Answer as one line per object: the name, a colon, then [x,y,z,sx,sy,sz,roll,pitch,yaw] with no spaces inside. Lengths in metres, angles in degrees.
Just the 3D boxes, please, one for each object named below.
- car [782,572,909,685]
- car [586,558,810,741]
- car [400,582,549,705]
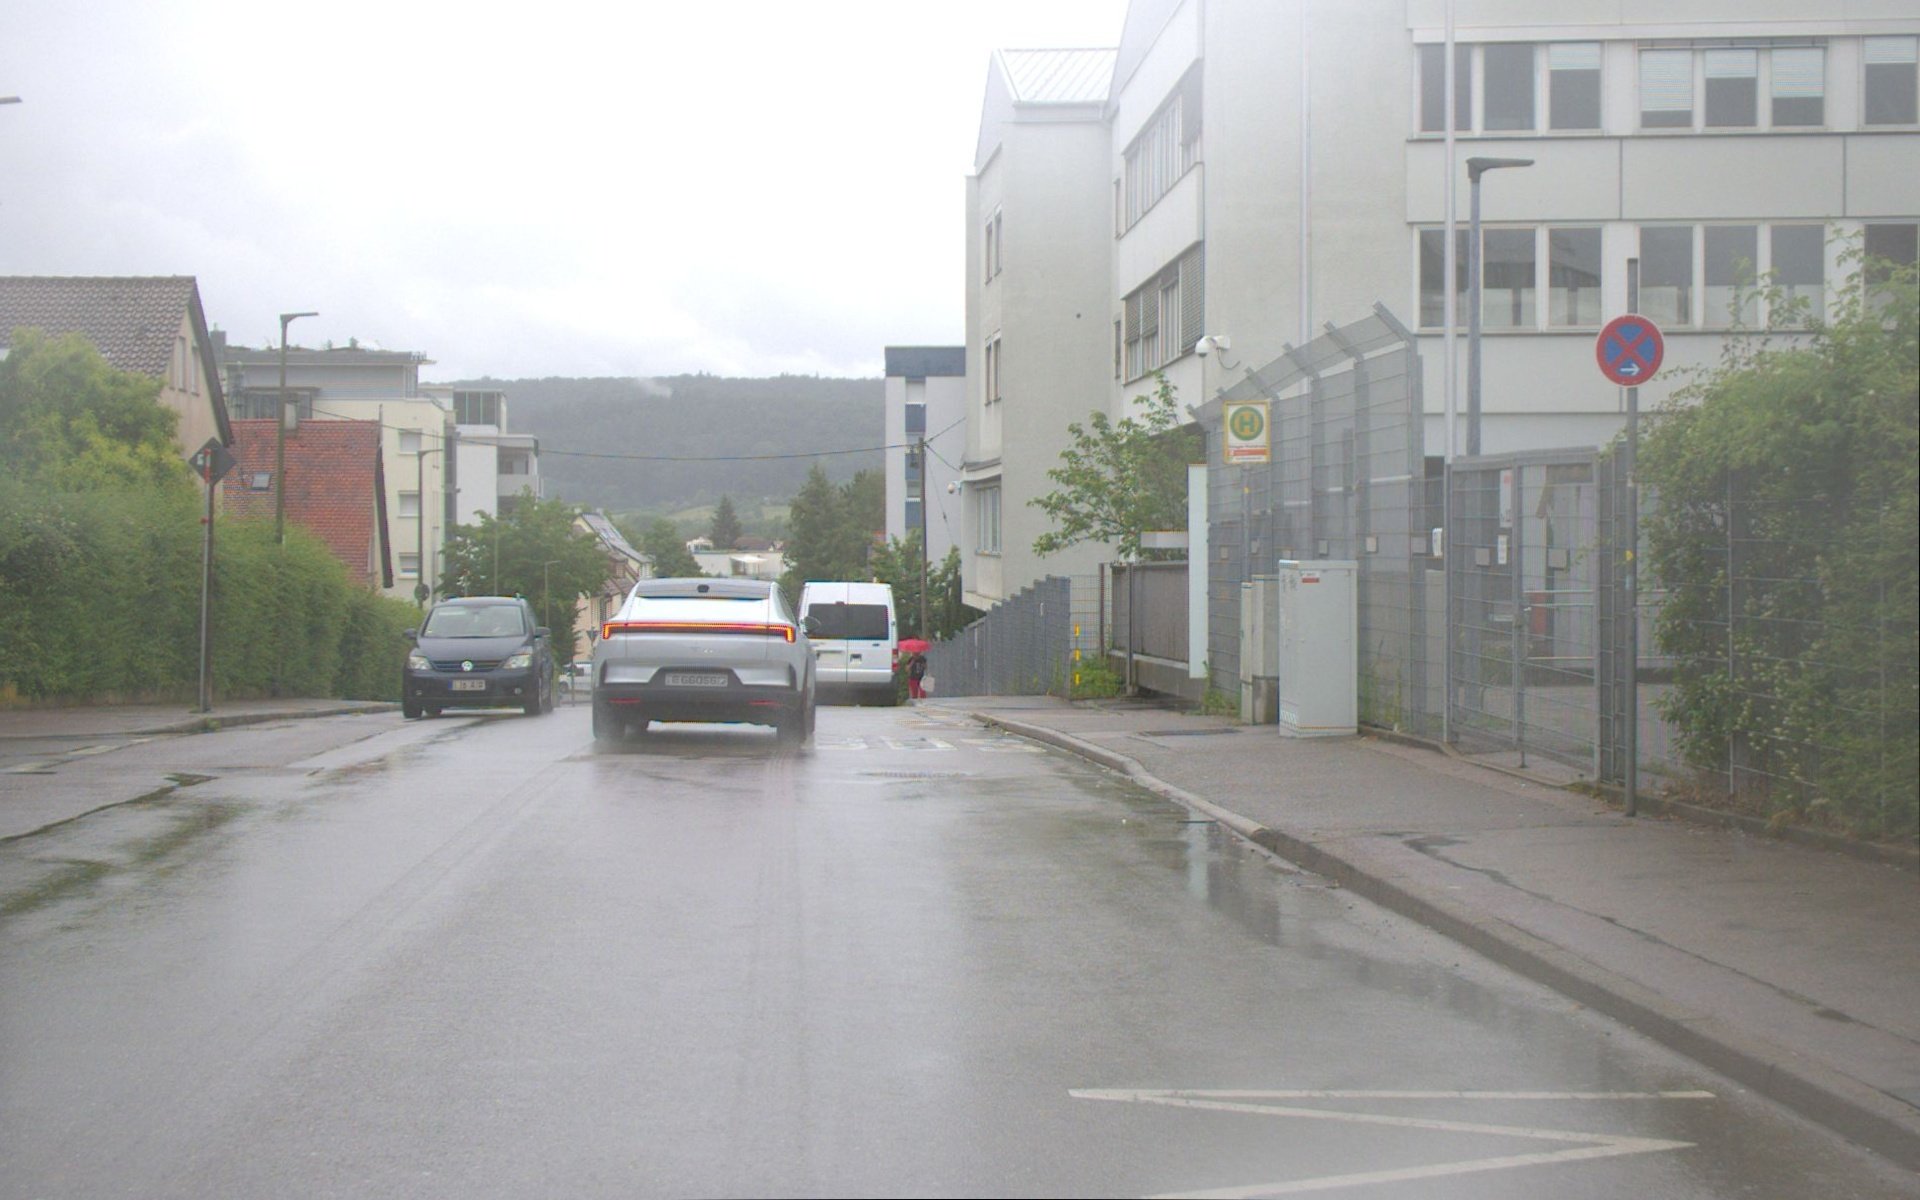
car: [-2.180,0.561,64.406,1.993,2.007,4.000,-1,-1,-7]
car: [-2.469,0.418,33.110,1.993,1.497,4.671,0,2,-3]
car: [-6.338,0.538,45.233,1.675,1.522,4.001,0,0,-4]
